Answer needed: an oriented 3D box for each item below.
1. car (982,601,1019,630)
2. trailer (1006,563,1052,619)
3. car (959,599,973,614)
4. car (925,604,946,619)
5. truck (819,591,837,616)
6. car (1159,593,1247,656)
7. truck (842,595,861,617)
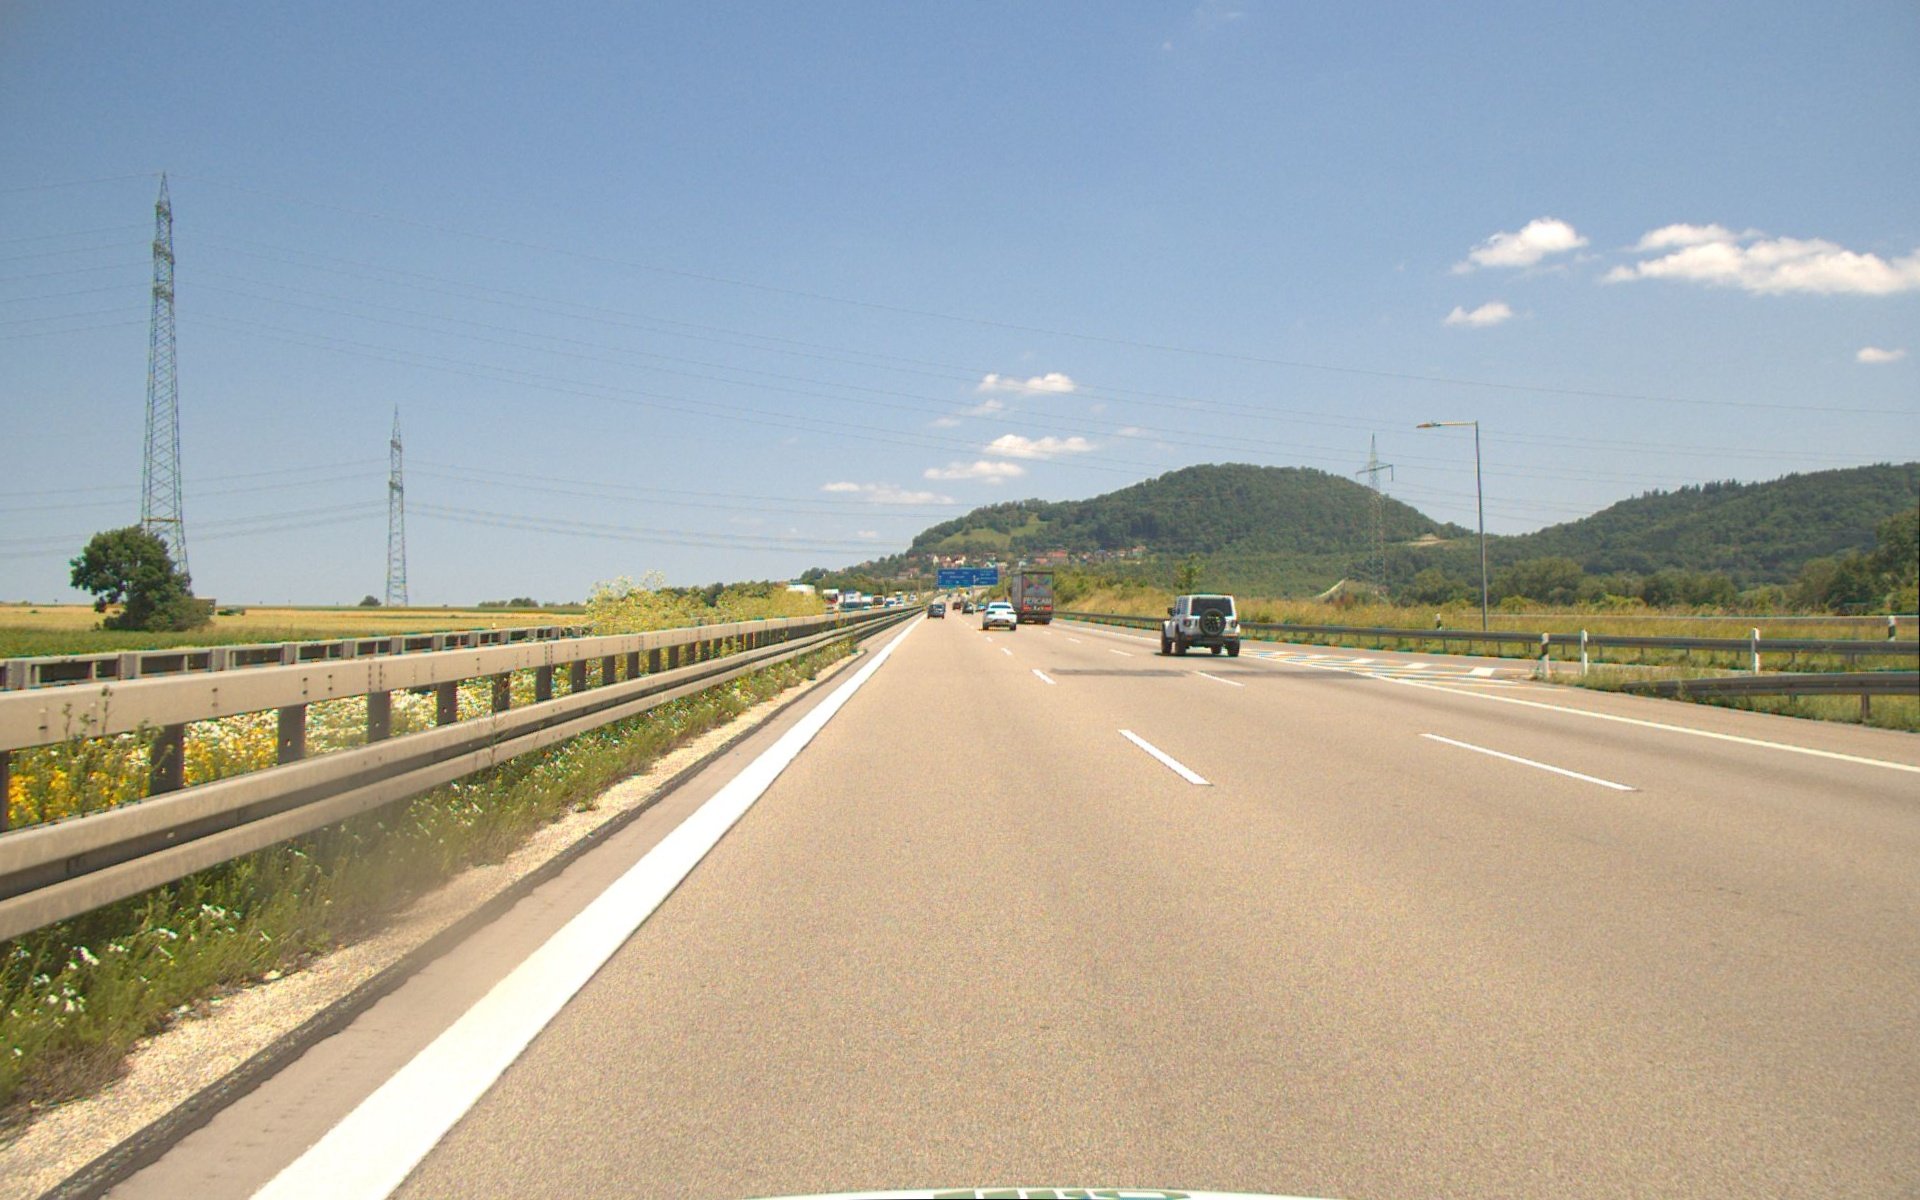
[{"bbox_3d":[2.346,0.909,96.555,1.875,1.608,5.229,1,-1,-1],"label":"car"},{"bbox_3d":[5.483,-0.654,133.661,2.670,4.228,11.802,1,-1,-2],"label":"trailer"},{"bbox_3d":[0.839,0.907,238.223,1.953,2.049,3.999,1,-1,0],"label":"car"},{"bbox_3d":[-2.365,1.090,162.213,1.953,1.413,3.999,1,-1,0],"label":"car"},{"bbox_3d":[-20.297,0.535,254.065,2.665,3.755,6.049,1,-1,-5],"label":"truck"},{"bbox_3d":[7.534,0.728,51.577,1.993,1.836,4.249,-1,0,-2],"label":"car"},{"bbox_3d":[-15.702,0.843,239.365,2.203,3.062,7.426,-2,0,-1],"label":"truck"}]
